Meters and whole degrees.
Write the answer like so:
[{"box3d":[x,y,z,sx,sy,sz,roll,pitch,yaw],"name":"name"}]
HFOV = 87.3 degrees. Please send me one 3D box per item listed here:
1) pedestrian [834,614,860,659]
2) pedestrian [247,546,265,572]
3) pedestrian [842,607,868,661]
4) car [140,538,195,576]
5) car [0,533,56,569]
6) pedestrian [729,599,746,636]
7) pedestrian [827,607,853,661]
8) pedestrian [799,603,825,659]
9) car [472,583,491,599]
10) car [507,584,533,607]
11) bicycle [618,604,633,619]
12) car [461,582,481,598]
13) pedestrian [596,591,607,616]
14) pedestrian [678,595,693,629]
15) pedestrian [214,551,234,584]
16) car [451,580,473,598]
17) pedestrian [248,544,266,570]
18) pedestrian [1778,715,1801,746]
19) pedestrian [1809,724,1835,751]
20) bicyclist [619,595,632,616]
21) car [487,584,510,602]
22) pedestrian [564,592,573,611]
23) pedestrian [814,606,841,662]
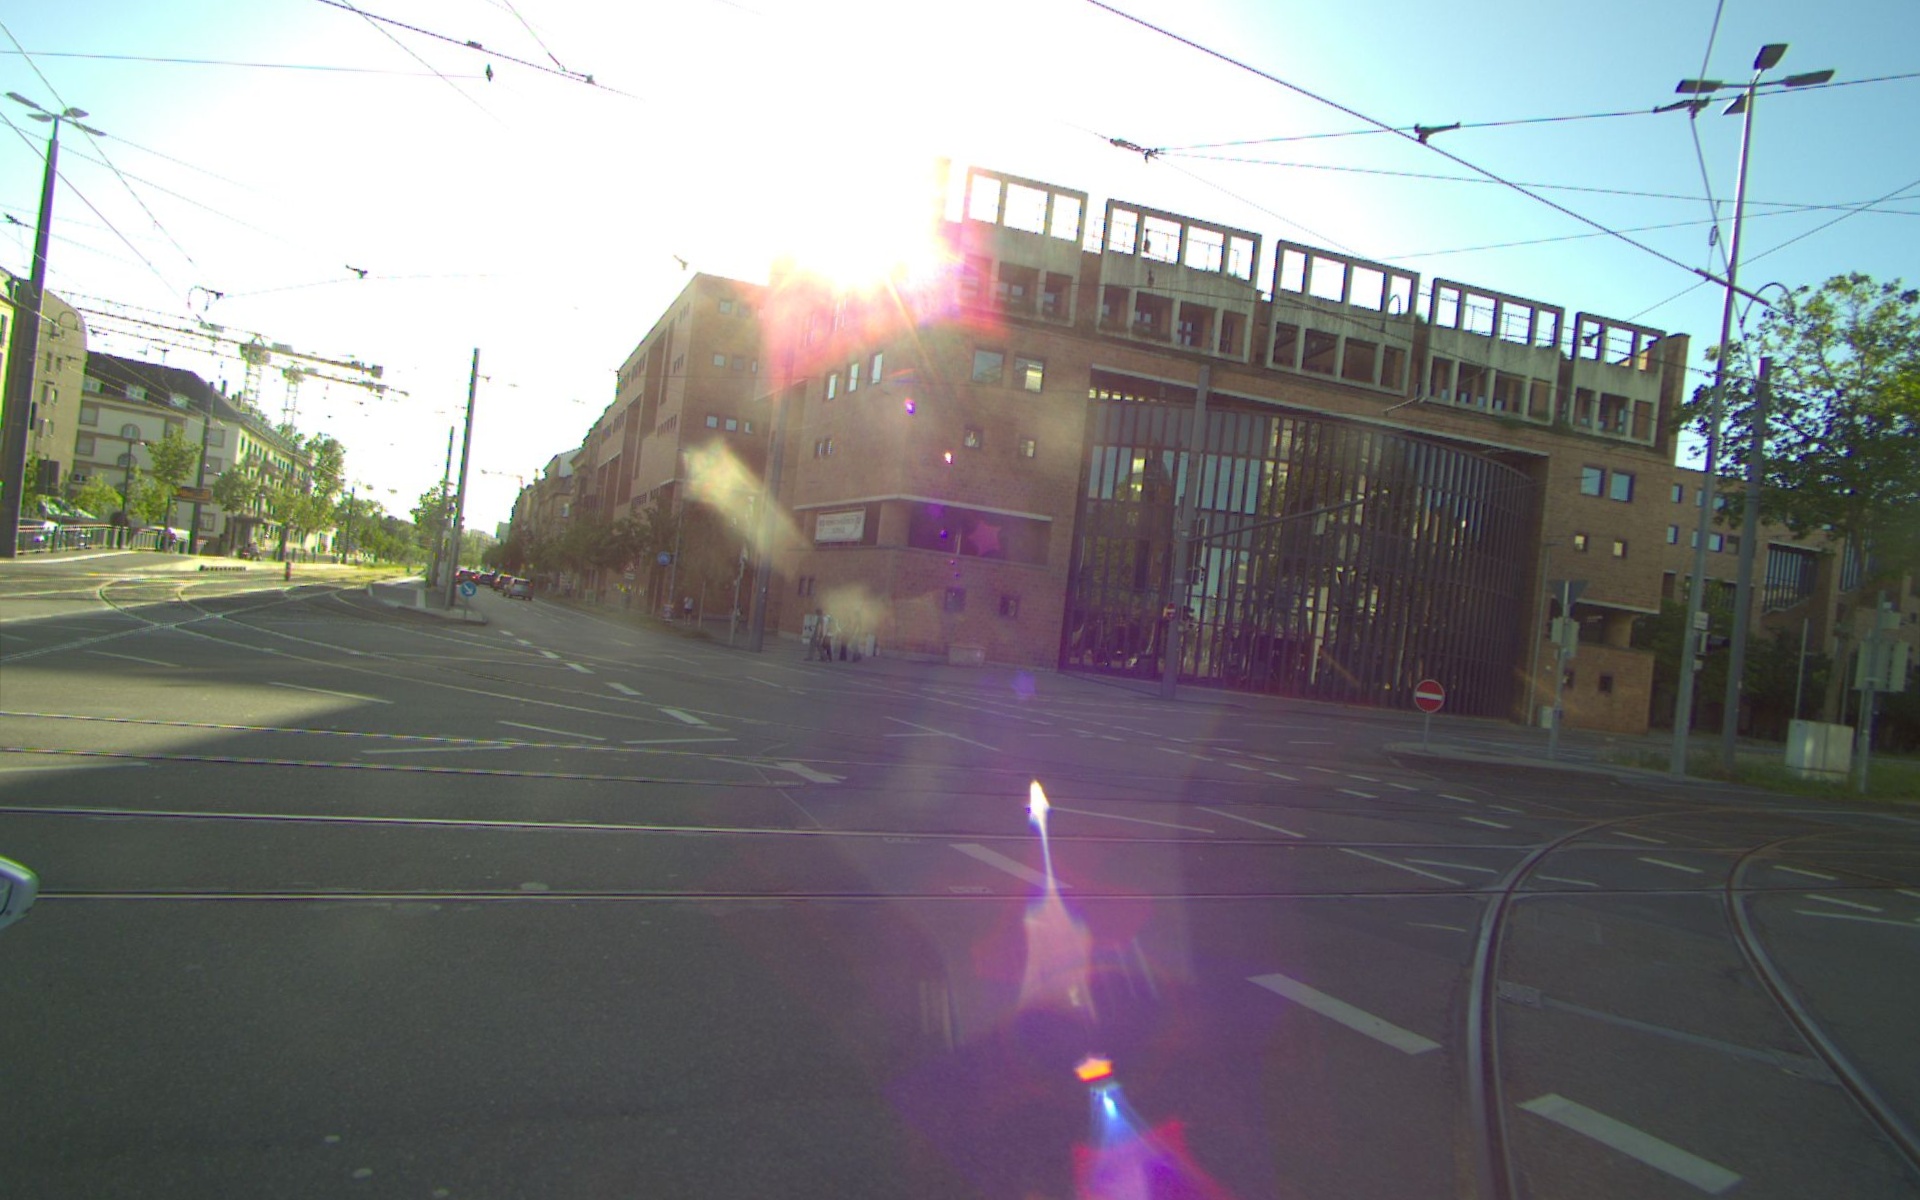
[{"box3d":[-3.985,1.286,35.402,0.545,1.495,0.566,6,-1,-44],"name":"pedestrian"},{"box3d":[-48.495,-2.844,69.340,0.856,1.690,0.777,6,-1,-37],"name":"pedestrian"},{"box3d":[-3.614,1.185,34.693,0.567,1.808,0.544,5,-1,-35],"name":"pedestrian"},{"box3d":[-71.338,-3.837,90.746,2.357,3.035,8.412,5,-1,-29],"name":"car"},{"box3d":[-44.868,-2.314,47.783,1.822,1.466,4.272,4,-2,-28],"name":"car"},{"box3d":[-11.486,0.899,51.942,0.633,1.808,0.685,4,-1,-24],"name":"pedestrian"},{"box3d":[-4.124,1.159,34.552,0.567,1.808,0.544,5,-1,-35],"name":"pedestrian"},{"box3d":[-4.890,1.030,33.199,0.567,1.808,0.544,5,-1,-35],"name":"pedestrian"},{"box3d":[-51.706,-0.951,108.749,1.704,1.471,3.677,5,-2,-26],"name":"car"},{"box3d":[-32.399,-0.317,74.050,1.545,1.473,3.412,7,-2,-25],"name":"car"},{"box3d":[-22.615,0.792,67.935,0.642,0.915,2.333,6,-2,-25],"name":"bicycle"},{"box3d":[-50.017,-1.001,102.904,1.704,1.471,3.677,5,-2,-26],"name":"car"},{"box3d":[-26.714,0.229,74.965,0.634,1.808,0.684,5,-1,-26],"name":"pedestrian"},{"box3d":[-14.940,0.654,54.706,0.542,1.809,0.570,5,1,-24],"name":"pedestrian"},{"box3d":[-44.788,-1.985,61.212,0.856,1.909,0.730,6,-1,-37],"name":"pedestrian"},{"box3d":[-47.117,-1.081,95.145,1.705,1.471,3.675,7,-2,-26],"name":"car"},{"box3d":[-48.010,-2.920,68.690,0.856,1.690,0.730,6,-1,-37],"name":"pedestrian"},{"box3d":[46.816,7.377,56.791,0.681,1.625,0.804,6,-1,-39],"name":"pedestrian"},{"box3d":[48.177,7.696,56.213,0.678,1.400,0.808,5,-1,-24],"name":"pedestrian"},{"box3d":[-22.629,0.361,68.043,0.639,1.355,0.649,5,-1,-25],"name":"bicyclist"},{"box3d":[-42.189,-0.652,91.934,1.656,1.471,3.675,7,-2,-26],"name":"car"},{"box3d":[-38.695,0.187,99.454,0.633,1.808,0.685,4,-1,-24],"name":"pedestrian"},{"box3d":[-4.452,1.143,33.802,0.567,1.808,0.544,5,-1,-35],"name":"pedestrian"}]
